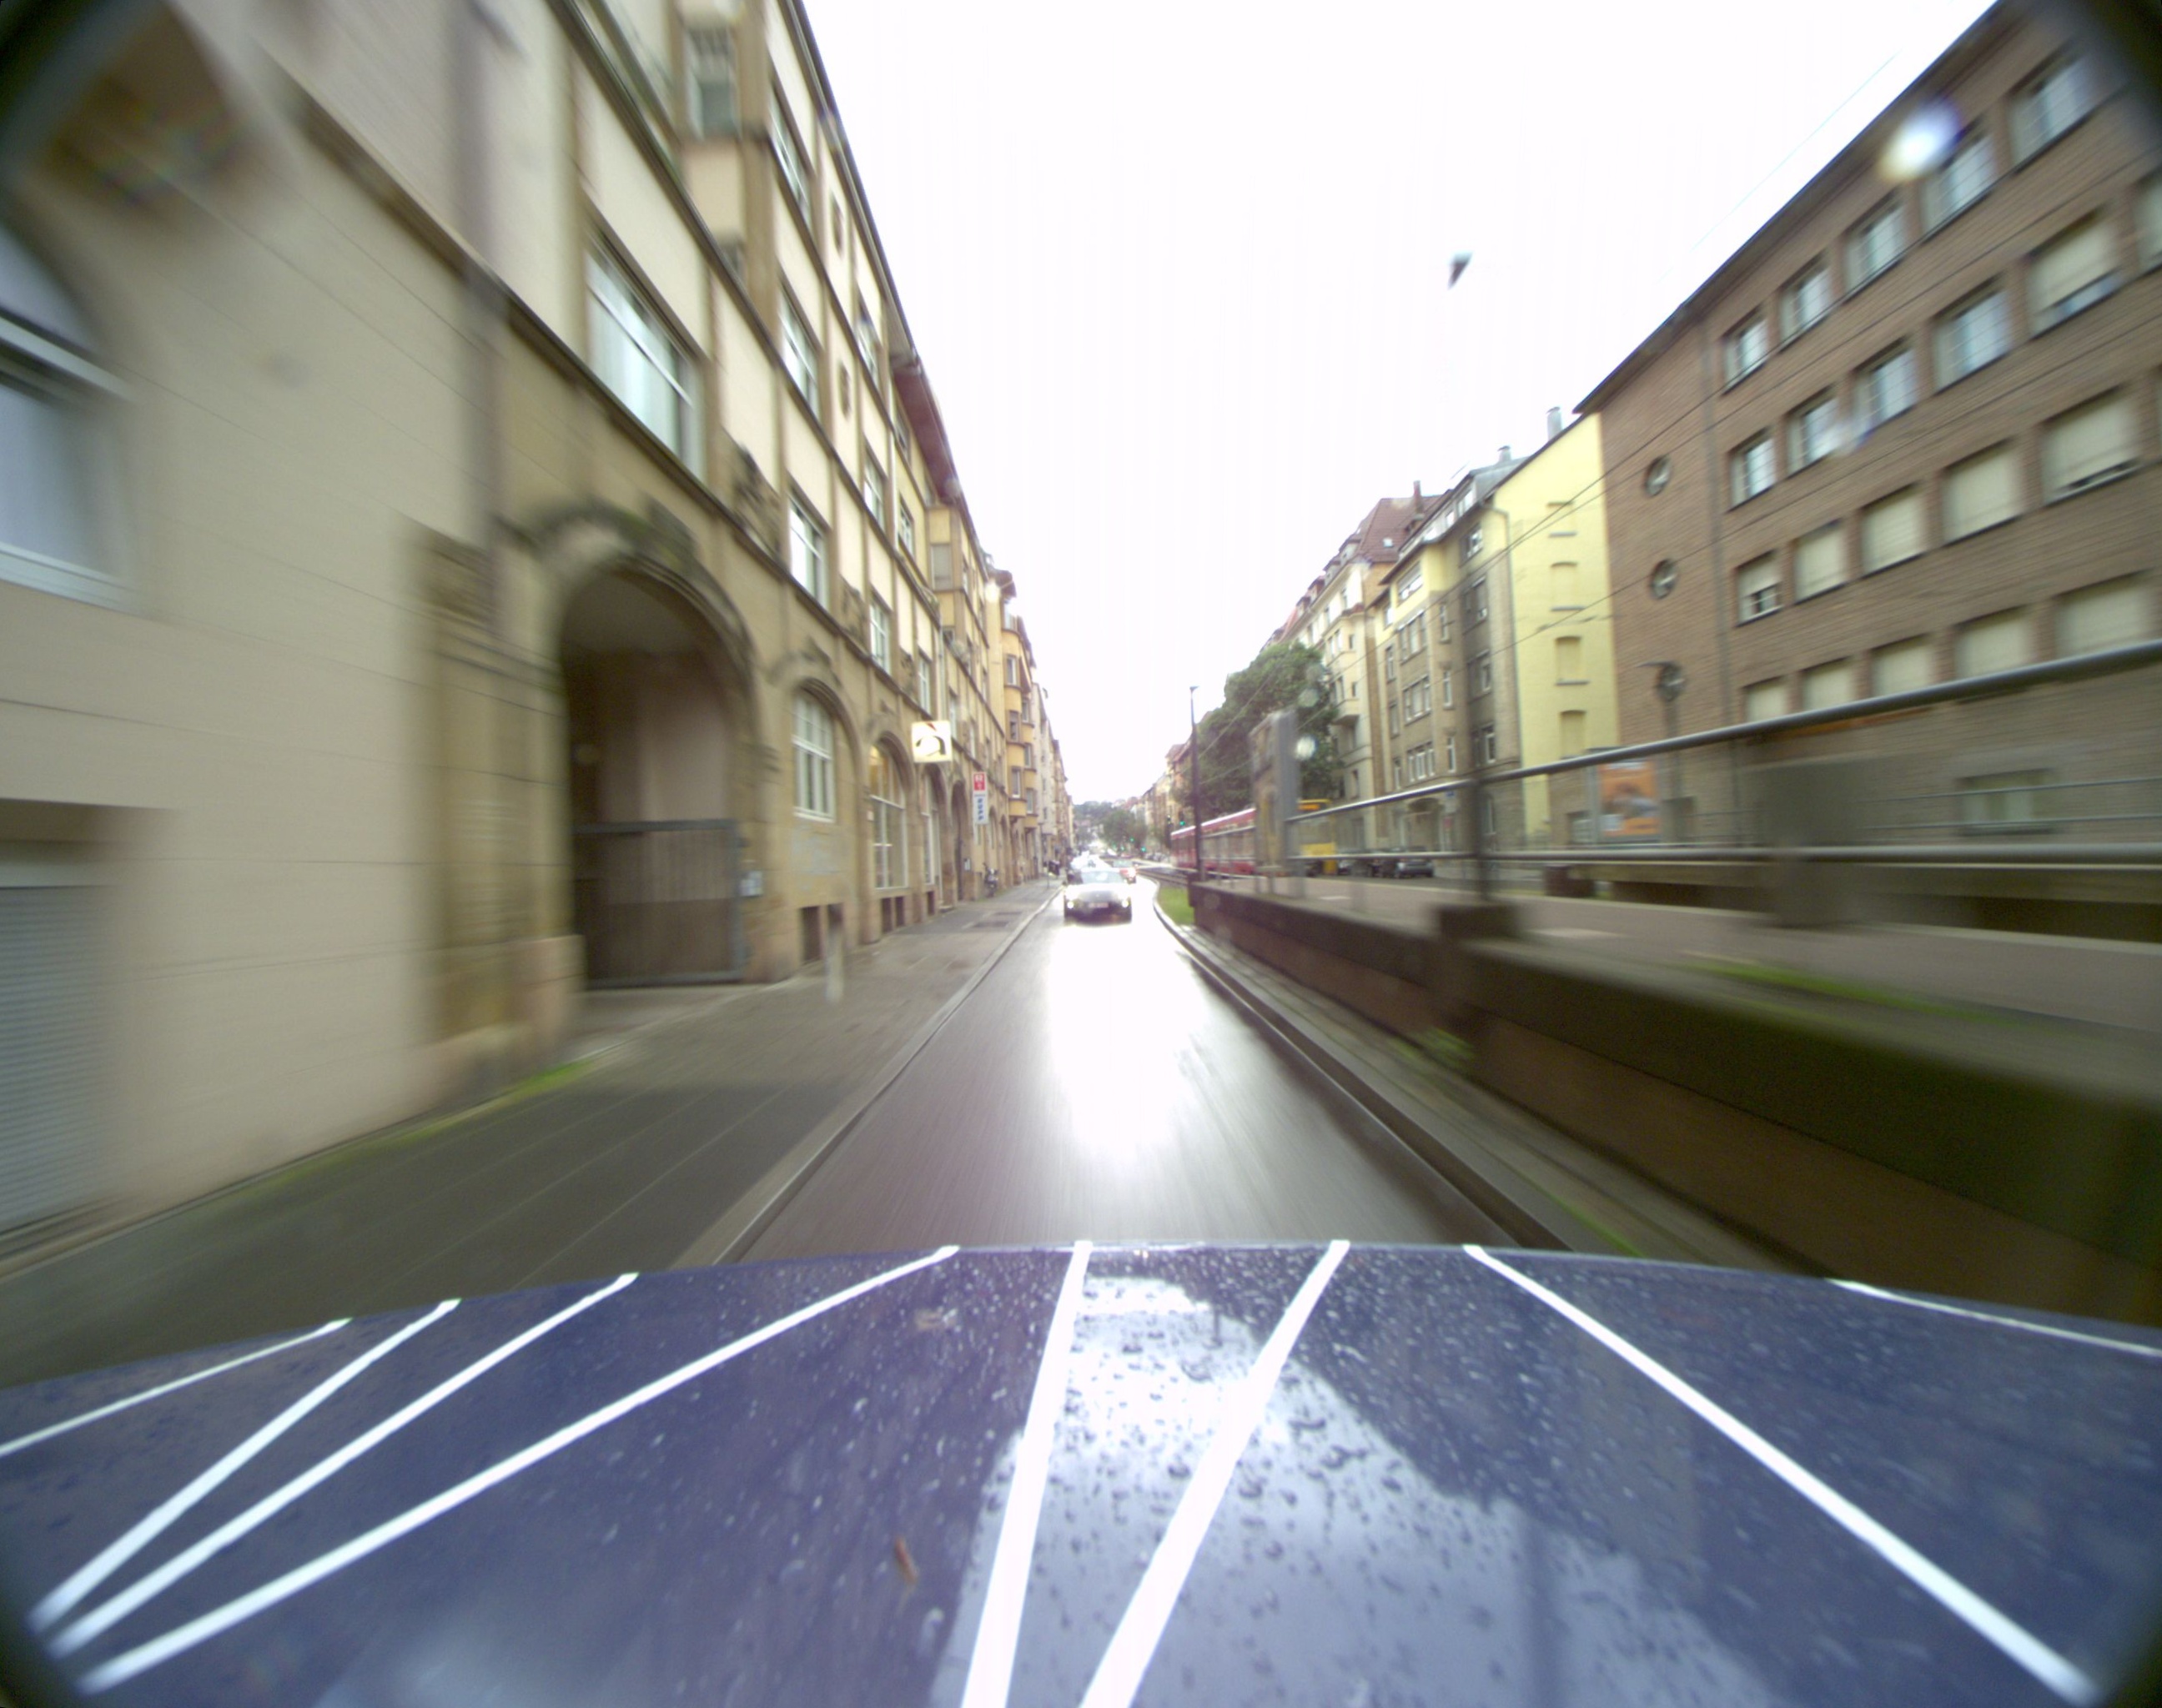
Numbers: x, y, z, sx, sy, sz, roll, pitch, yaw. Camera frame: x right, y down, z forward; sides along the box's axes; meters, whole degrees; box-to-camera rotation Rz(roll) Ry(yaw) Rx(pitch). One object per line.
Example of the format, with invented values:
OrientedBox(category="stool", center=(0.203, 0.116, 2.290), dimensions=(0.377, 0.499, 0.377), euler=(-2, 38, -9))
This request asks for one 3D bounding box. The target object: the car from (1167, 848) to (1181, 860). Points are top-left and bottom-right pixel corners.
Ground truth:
OrientedBox(category="car", center=(16.373, 0.050, 133.838), dimensions=(1.998, 1.958, 4.000), euler=(-3, 0, 1))

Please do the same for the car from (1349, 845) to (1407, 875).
OrientedBox(category="car", center=(15.301, 0.290, 39.320), dimensions=(1.648, 1.395, 3.633), euler=(-2, 0, 2))

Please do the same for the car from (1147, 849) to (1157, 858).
OrientedBox(category="car", center=(16.236, -0.040, 174.296), dimensions=(1.998, 1.958, 4.000), euler=(-3, 0, 1))

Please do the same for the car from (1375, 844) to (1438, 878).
OrientedBox(category="car", center=(15.198, 0.331, 35.621), dimensions=(1.648, 1.457, 3.111), euler=(-2, 0, 2))

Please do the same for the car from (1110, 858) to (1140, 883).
OrientedBox(category="car", center=(2.679, 1.012, 46.714), dimensions=(1.689, 1.451, 3.299), euler=(-1, 0, 1))

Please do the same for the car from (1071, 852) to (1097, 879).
OrientedBox(category="car", center=(0.258, 0.813, 55.778), dimensions=(1.741, 1.787, 4.266), euler=(-2, 0, 2))

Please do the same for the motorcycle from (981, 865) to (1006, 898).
OrientedBox(category="motorcycle", center=(-3.527, 1.077, 30.683), dimensions=(0.692, 1.230, 1.779), euler=(3, 0, 1))

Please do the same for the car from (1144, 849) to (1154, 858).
OrientedBox(category="car", center=(16.343, -0.047, 181.810), dimensions=(1.998, 1.958, 4.000), euler=(-3, 0, 1))

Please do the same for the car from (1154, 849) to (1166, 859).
OrientedBox(category="car", center=(16.362, -0.006, 157.058), dimensions=(1.998, 1.958, 4.000), euler=(-3, 0, 1))

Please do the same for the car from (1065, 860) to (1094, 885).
OrientedBox(category="car", center=(-0.041, 1.144, 48.118), dimensions=(1.633, 1.443, 4.001), euler=(-2, 0, 2))

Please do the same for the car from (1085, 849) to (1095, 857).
OrientedBox(category="car", center=(2.043, -0.171, 176.252), dimensions=(1.998, 1.761, 4.000), euler=(-3, 0, 3))

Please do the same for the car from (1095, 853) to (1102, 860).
OrientedBox(category="car", center=(5.166, 0.857, 229.025), dimensions=(1.998, 1.958, 4.000), euler=(-3, 0, 1))

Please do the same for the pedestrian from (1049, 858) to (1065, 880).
OrientedBox(category="pedestrian", center=(-1.949, 1.173, 61.555), dimensions=(1.125, 1.703, 1.101), euler=(-3, 0, 0))

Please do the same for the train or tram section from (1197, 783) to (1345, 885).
OrientedBox(category="train or tram section", center=(8.991, -0.802, 39.767), dimensions=(2.721, 3.898, 19.861), euler=(-3, 0, 0))

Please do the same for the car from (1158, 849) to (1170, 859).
OrientedBox(category="car", center=(16.509, 0.004, 151.183), dimensions=(1.998, 1.958, 4.000), euler=(-3, 0, 1))

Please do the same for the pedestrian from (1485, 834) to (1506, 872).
OrientedBox(category="pedestrian", center=(18.287, -0.051, 33.513), dimensions=(0.550, 1.644, 0.542), euler=(-3, 0, 2))

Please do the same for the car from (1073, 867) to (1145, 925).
OrientedBox(category="car", center=(0.769, 1.062, 20.622), dimensions=(1.704, 1.280, 4.196), euler=(-2, 0, 2))

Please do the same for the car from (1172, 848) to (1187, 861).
OrientedBox(category="car", center=(16.361, 0.067, 126.478), dimensions=(1.998, 1.958, 4.000), euler=(-3, 0, 1))

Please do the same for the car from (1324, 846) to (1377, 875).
OrientedBox(category="car", center=(15.528, 0.365, 44.054), dimensions=(1.648, 1.571, 4.339), euler=(-2, 0, 2))

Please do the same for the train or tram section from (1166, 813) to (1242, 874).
OrientedBox(category="train or tram section", center=(9.105, -0.701, 59.133), dimensions=(2.721, 3.898, 19.297), euler=(-3, 0, 0))

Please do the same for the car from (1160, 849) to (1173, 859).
OrientedBox(category="car", center=(16.551, 0.013, 146.623), dimensions=(1.998, 1.958, 4.000), euler=(-3, 0, 1))

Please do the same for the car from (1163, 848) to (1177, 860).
OrientedBox(category="car", center=(16.463, 0.030, 141.124), dimensions=(1.998, 1.958, 4.000), euler=(-3, 0, 1))
